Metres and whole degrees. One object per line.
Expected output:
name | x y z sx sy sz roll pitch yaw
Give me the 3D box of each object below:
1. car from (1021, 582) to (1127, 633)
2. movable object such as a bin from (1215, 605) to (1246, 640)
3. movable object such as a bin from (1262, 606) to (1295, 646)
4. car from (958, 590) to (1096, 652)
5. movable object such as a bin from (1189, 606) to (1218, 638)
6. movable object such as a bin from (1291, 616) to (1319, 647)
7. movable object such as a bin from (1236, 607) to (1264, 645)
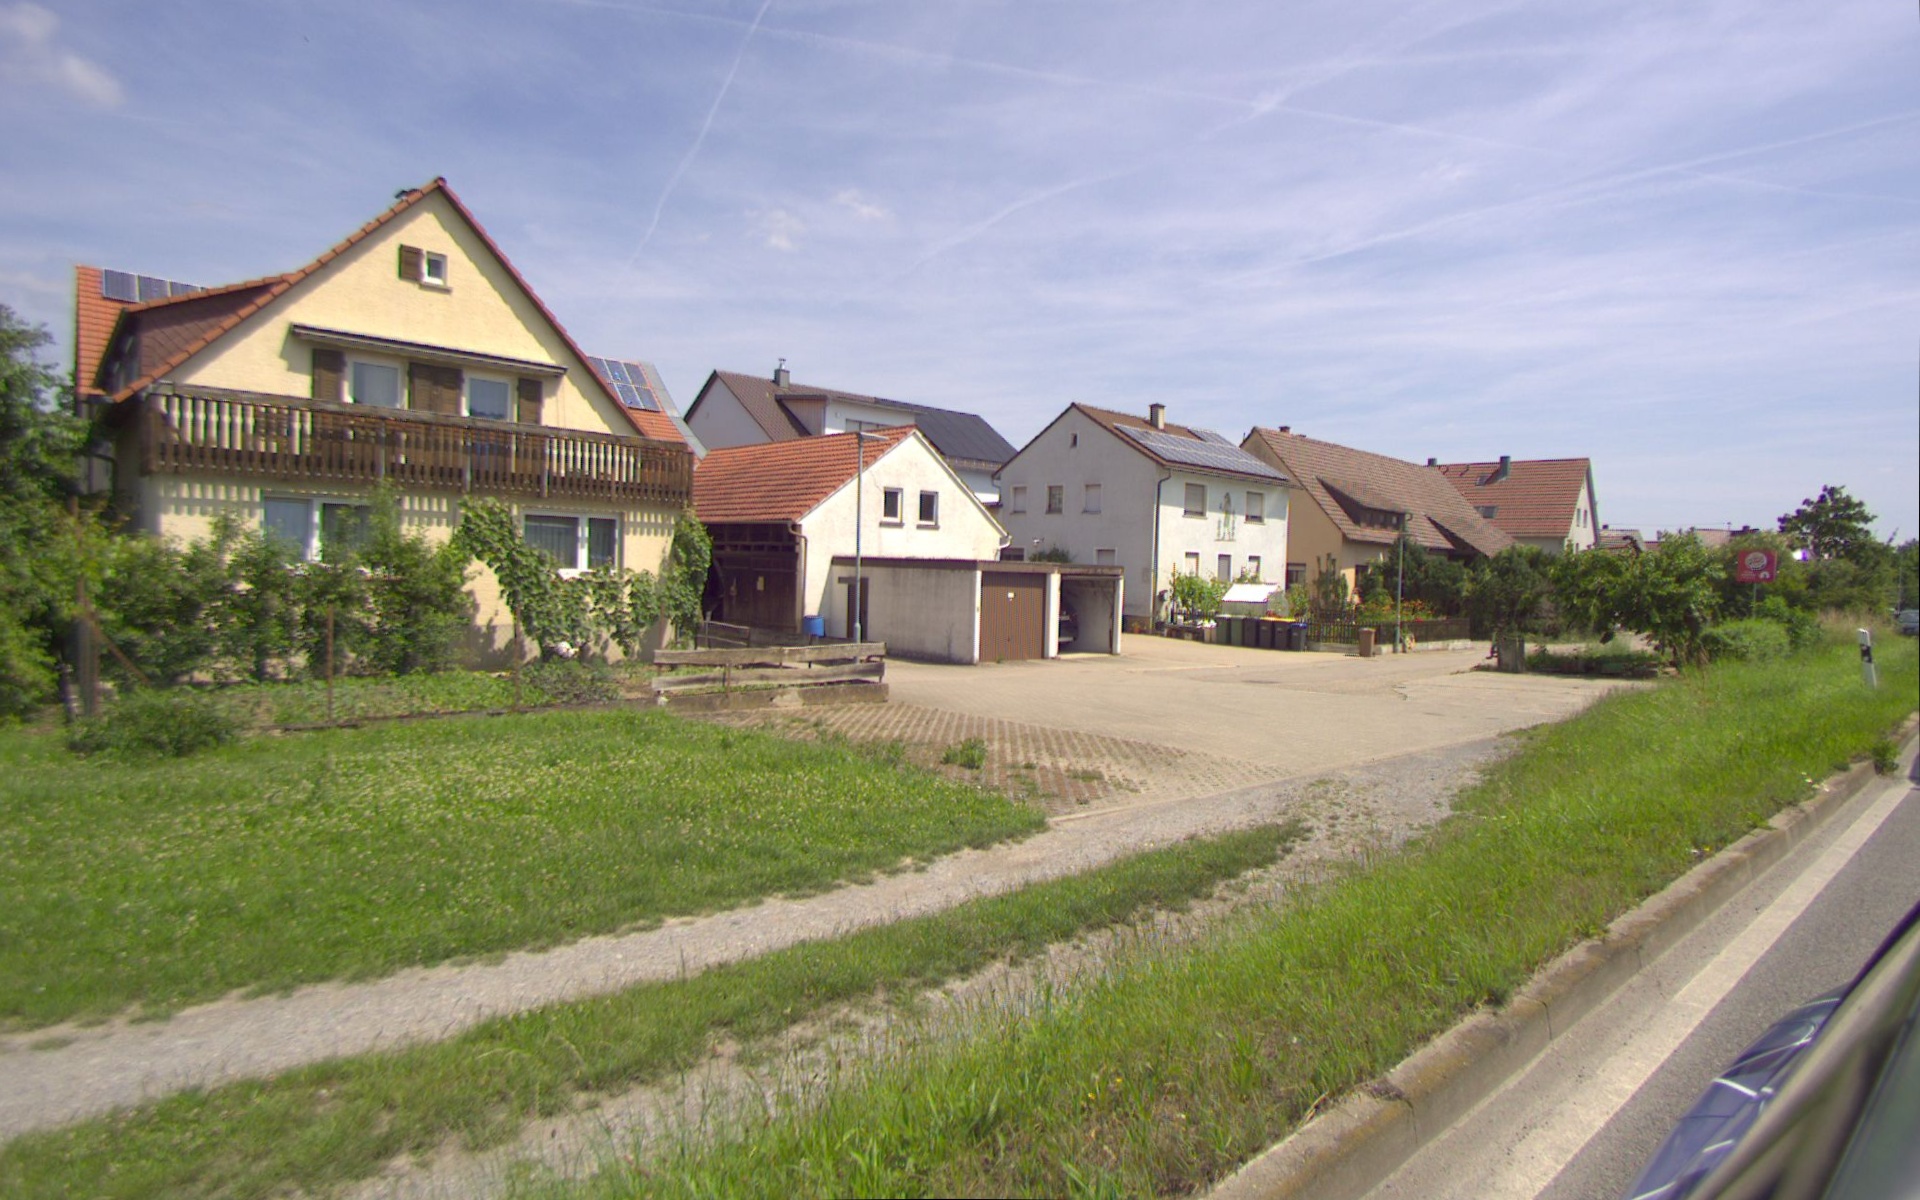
car | 4.482 0.260 40.136 1.797 1.755 3.995 0 3 -41
movable object such as a bin | 10.087 0.822 37.747 0.874 1.262 0.744 1 0 -42
movable object such as a bin | 11.300 0.900 35.911 0.930 1.387 0.764 1 -1 -42
car | 1.906 0.563 29.789 1.794 1.624 3.995 1 1 -40
movable object such as a bin | 9.242 0.817 38.345 0.816 1.171 0.739 1 0 -42
movable object such as a bin | 12.016 1.095 35.207 0.743 1.040 0.645 1 0 -42
movable object such as a bin | 10.648 0.948 37.125 0.806 1.355 0.677 1 -1 -42
